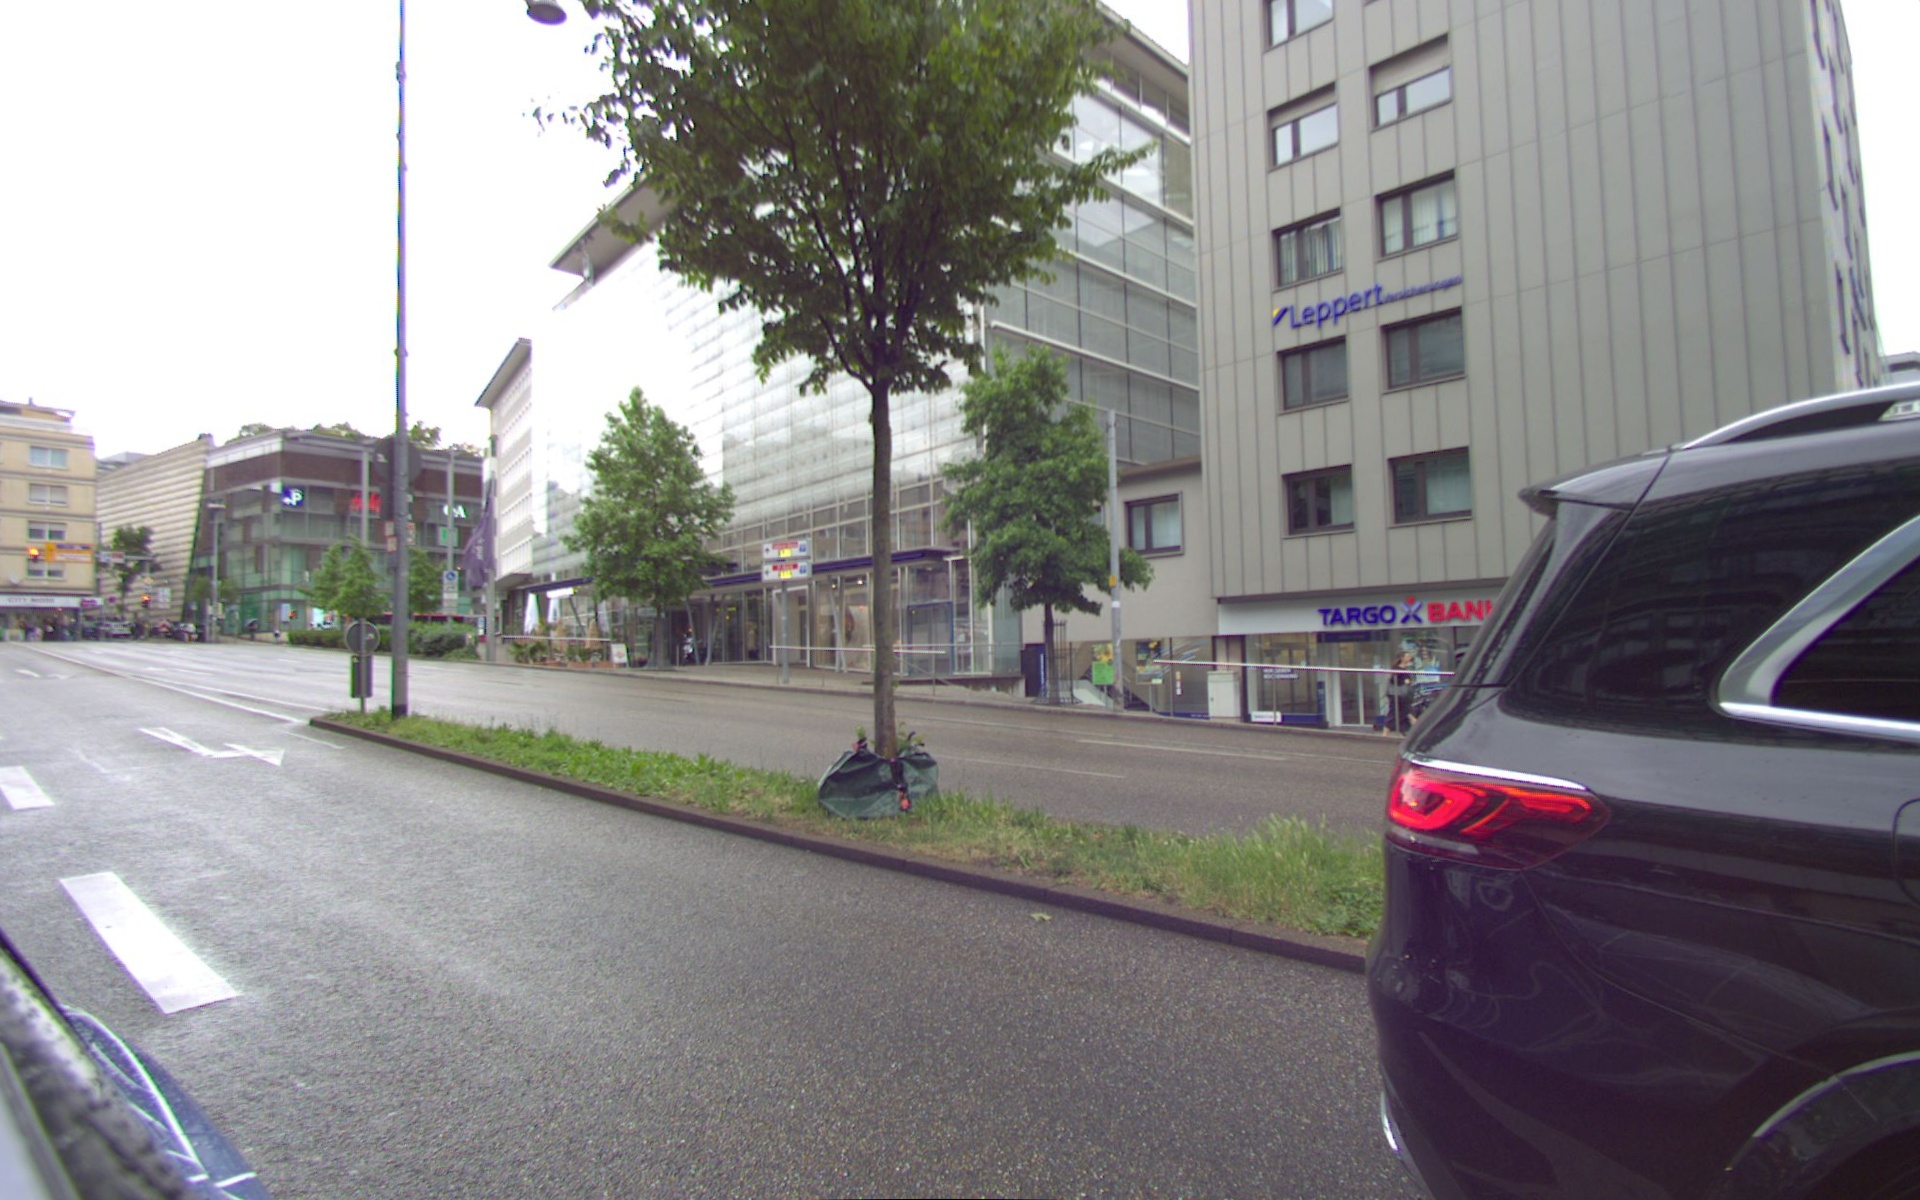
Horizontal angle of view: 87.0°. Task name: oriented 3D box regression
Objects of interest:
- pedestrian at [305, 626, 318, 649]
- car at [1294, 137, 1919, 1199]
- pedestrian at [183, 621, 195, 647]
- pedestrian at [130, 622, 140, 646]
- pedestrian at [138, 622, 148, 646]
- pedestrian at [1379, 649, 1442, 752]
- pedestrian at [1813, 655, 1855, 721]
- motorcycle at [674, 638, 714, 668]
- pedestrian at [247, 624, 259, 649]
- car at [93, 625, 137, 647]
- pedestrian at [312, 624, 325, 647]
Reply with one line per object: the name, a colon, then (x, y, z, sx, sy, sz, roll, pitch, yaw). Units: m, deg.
pedestrian: (-47.084, 2.748, 73.465, 0.602, 1.642, 0.625, -1, -3, 42)
car: (3.105, 0.379, 0.814, 5.069, 1.884, 1.892, 0, 0, 40)
pedestrian: (-54.130, 2.399, 71.054, 0.617, 1.788, 0.689, 0, 0, -43)
pedestrian: (-57.023, 2.359, 69.951, 0.602, 1.642, 0.422, -1, -3, 44)
pedestrian: (-55.089, 2.292, 68.244, 0.422, 1.642, 0.603, 3, -3, -45)
pedestrian: (7.649, 1.678, 17.199, 0.626, 1.649, 0.791, 0, 0, -41)
pedestrian: (23.607, 2.362, 27.342, 0.724, 1.710, 0.781, 0, -3, 34)
motorcycle: (-12.103, 2.428, 46.148, 0.620, 1.336, 1.685, -1, -3, 41)
pedestrian: (-51.322, 2.657, 73.429, 0.618, 1.788, 0.689, 0, 0, -45)
car: (-80.667, 3.431, 96.558, 4.575, 2.029, 1.977, 0, -2, 34)
pedestrian: (-46.150, 2.522, 72.819, 0.603, 1.642, 0.625, -1, -3, 44)
